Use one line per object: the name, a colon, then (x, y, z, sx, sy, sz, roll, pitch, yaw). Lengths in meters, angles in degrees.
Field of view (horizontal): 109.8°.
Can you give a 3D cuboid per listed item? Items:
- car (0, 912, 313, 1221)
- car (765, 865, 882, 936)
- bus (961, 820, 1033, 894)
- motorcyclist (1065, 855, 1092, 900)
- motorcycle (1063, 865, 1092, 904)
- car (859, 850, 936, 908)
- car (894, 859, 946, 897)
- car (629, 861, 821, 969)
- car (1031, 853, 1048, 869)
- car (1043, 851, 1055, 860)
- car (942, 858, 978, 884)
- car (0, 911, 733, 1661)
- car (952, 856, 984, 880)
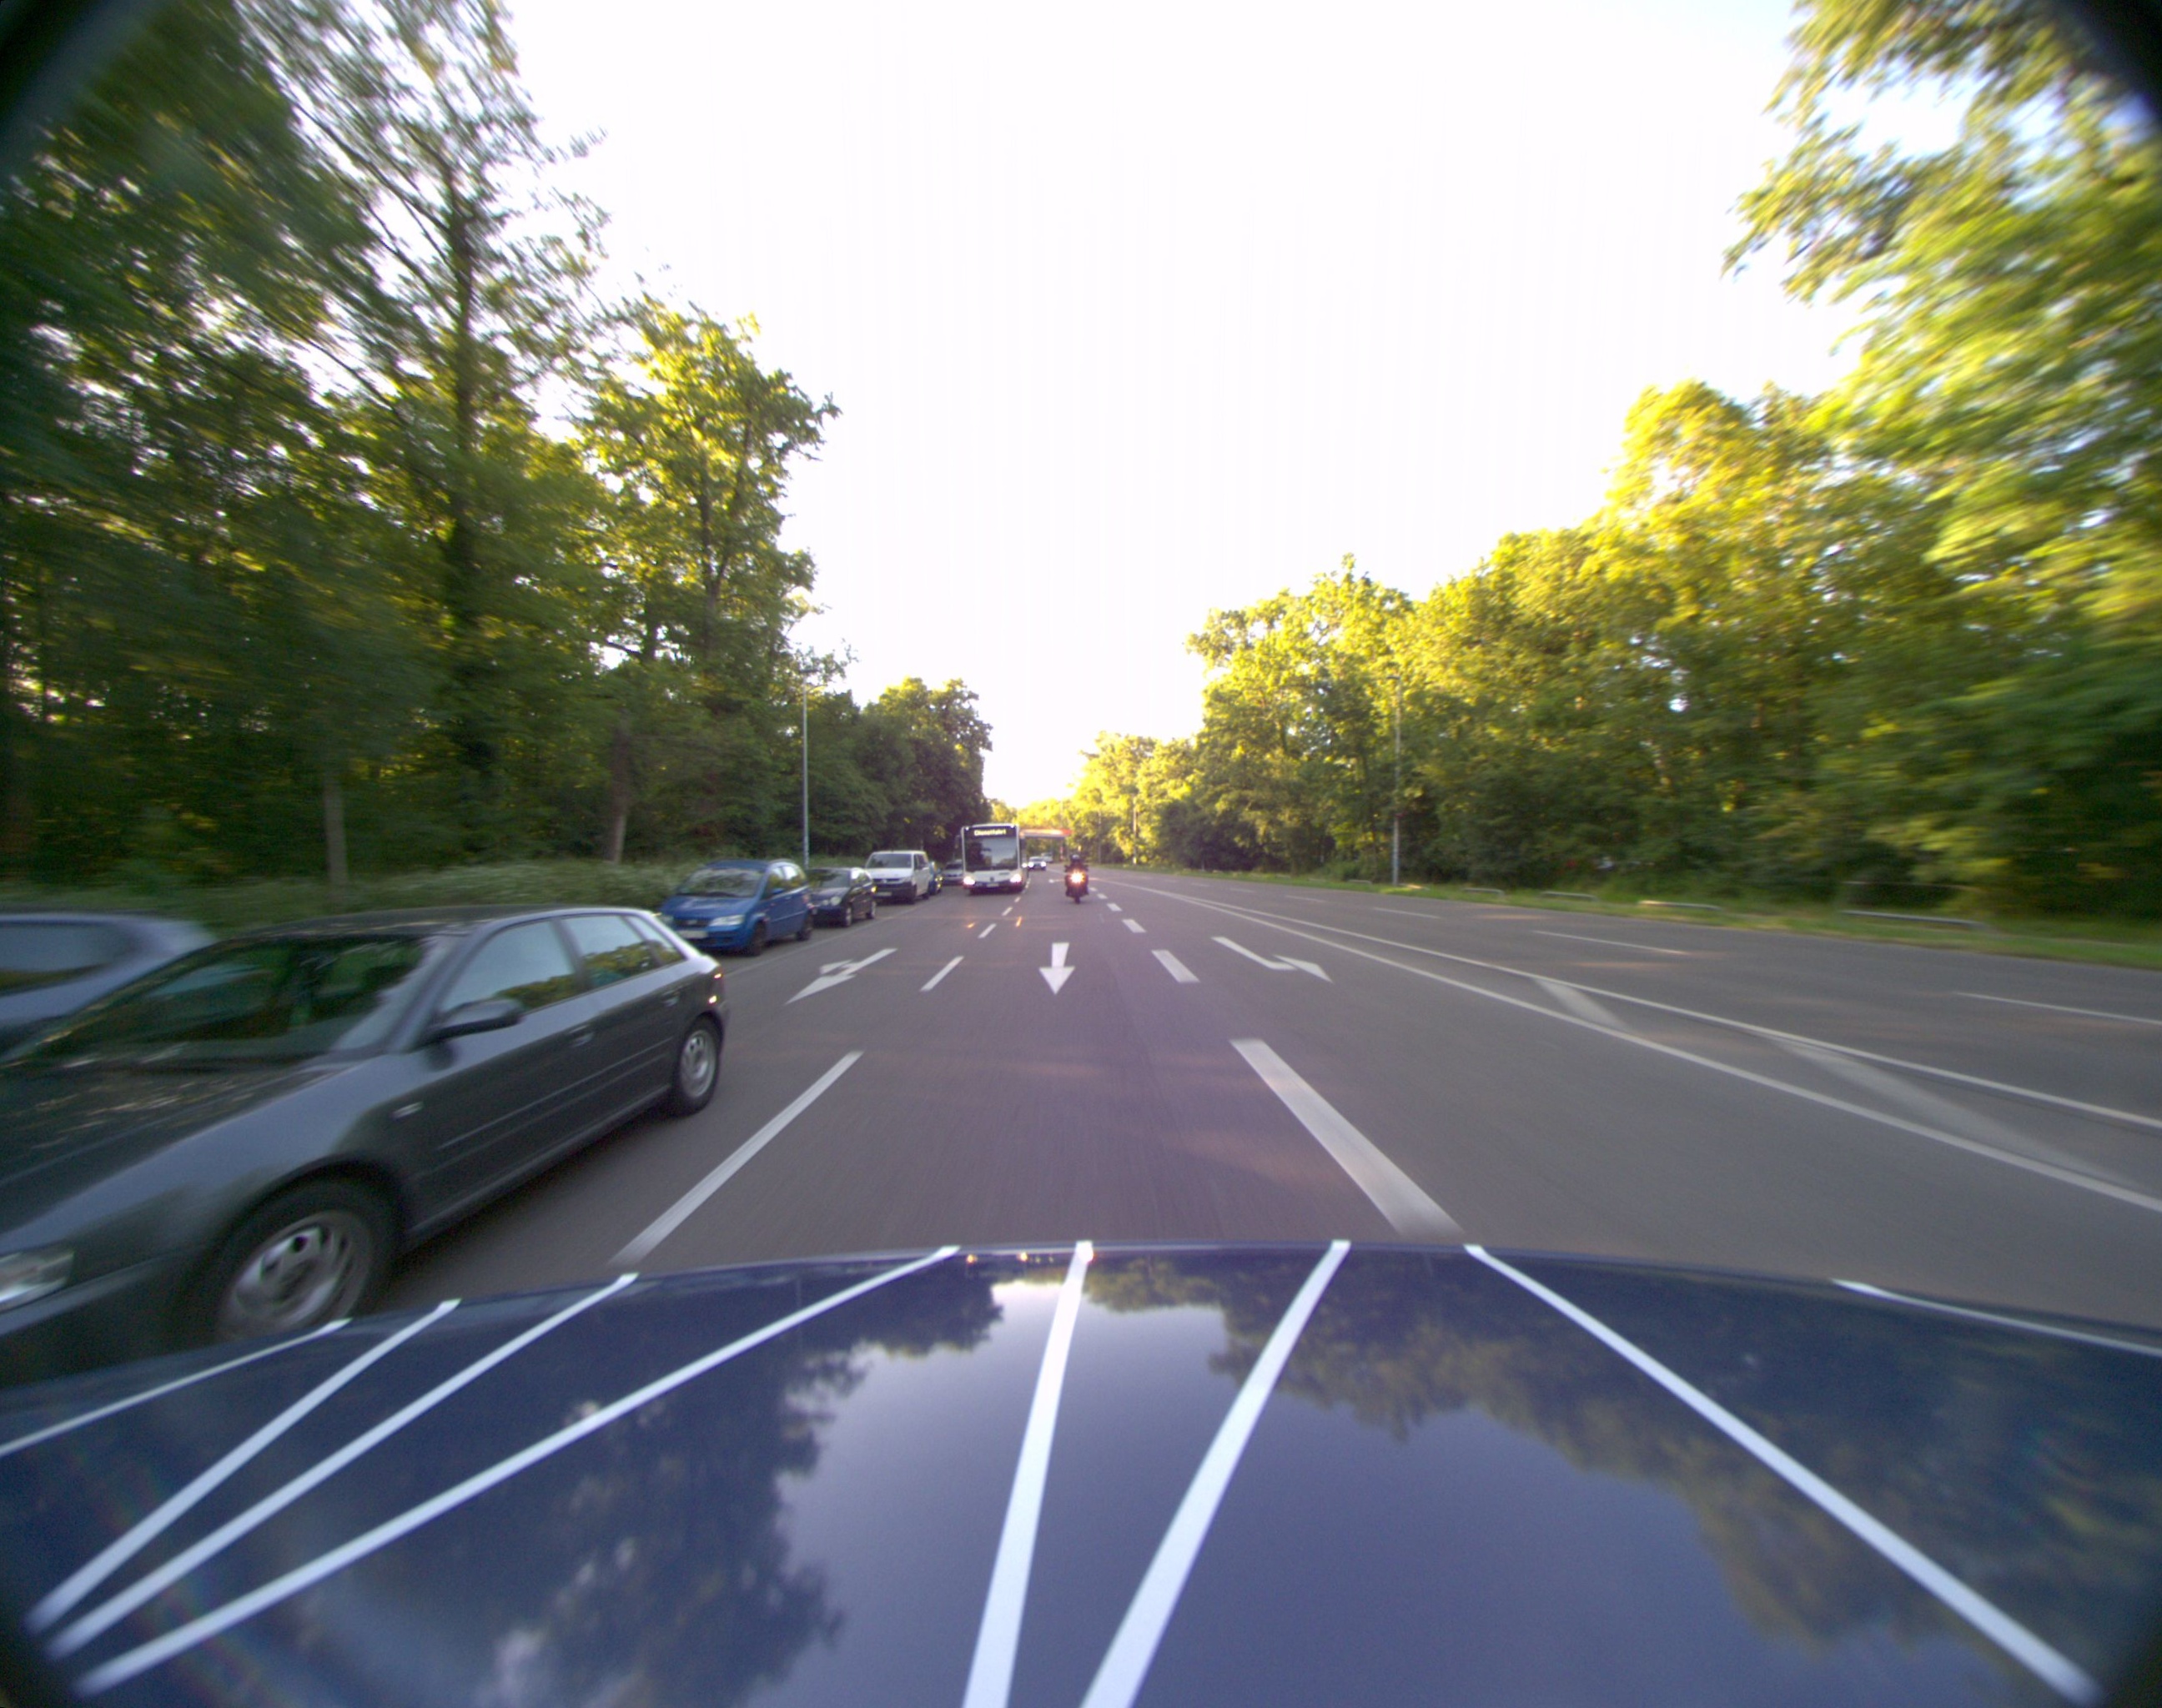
car: (-6.190, 1.120, 3.131, 1.676, 1.396, 4.230, 0, 1, 1)
car: (-6.407, 1.102, 19.387, 1.819, 1.470, 3.828, -2, 1, -3)
bus: (-3.947, 0.148, 38.331, 2.813, 3.030, 12.882, -2, 0, -3)
motorcyclist: (-0.083, 0.777, 25.776, 0.830, 1.484, 1.024, -2, 1, 2)
motorcycle: (-0.087, 0.999, 25.784, 0.830, 1.211, 2.604, -2, 0, 2)
car: (-6.858, 0.838, 28.948, 1.819, 1.910, 5.265, -2, 1, -3)
car: (-7.355, 1.056, 35.074, 1.820, 1.501, 3.827, -2, 1, -4)
car: (-6.304, 0.986, 13.981, 1.819, 1.624, 3.828, 0, 1, -2)
car: (-4.451, 0.734, 82.145, 1.679, 1.552, 3.993, -2, 0, -2)
car: (-6.065, 0.258, 142.260, 1.844, 1.682, 4.650, -2, 0, -7)
car: (-7.407, 1.023, 46.748, 1.595, 1.375, 3.828, -2, 1, -1)
car: (-3.222, 1.100, 3.177, 1.679, 1.351, 3.994, -2, 0, 0)
car: (-7.646, 0.904, 51.628, 1.595, 1.479, 3.828, -2, 1, -1)
